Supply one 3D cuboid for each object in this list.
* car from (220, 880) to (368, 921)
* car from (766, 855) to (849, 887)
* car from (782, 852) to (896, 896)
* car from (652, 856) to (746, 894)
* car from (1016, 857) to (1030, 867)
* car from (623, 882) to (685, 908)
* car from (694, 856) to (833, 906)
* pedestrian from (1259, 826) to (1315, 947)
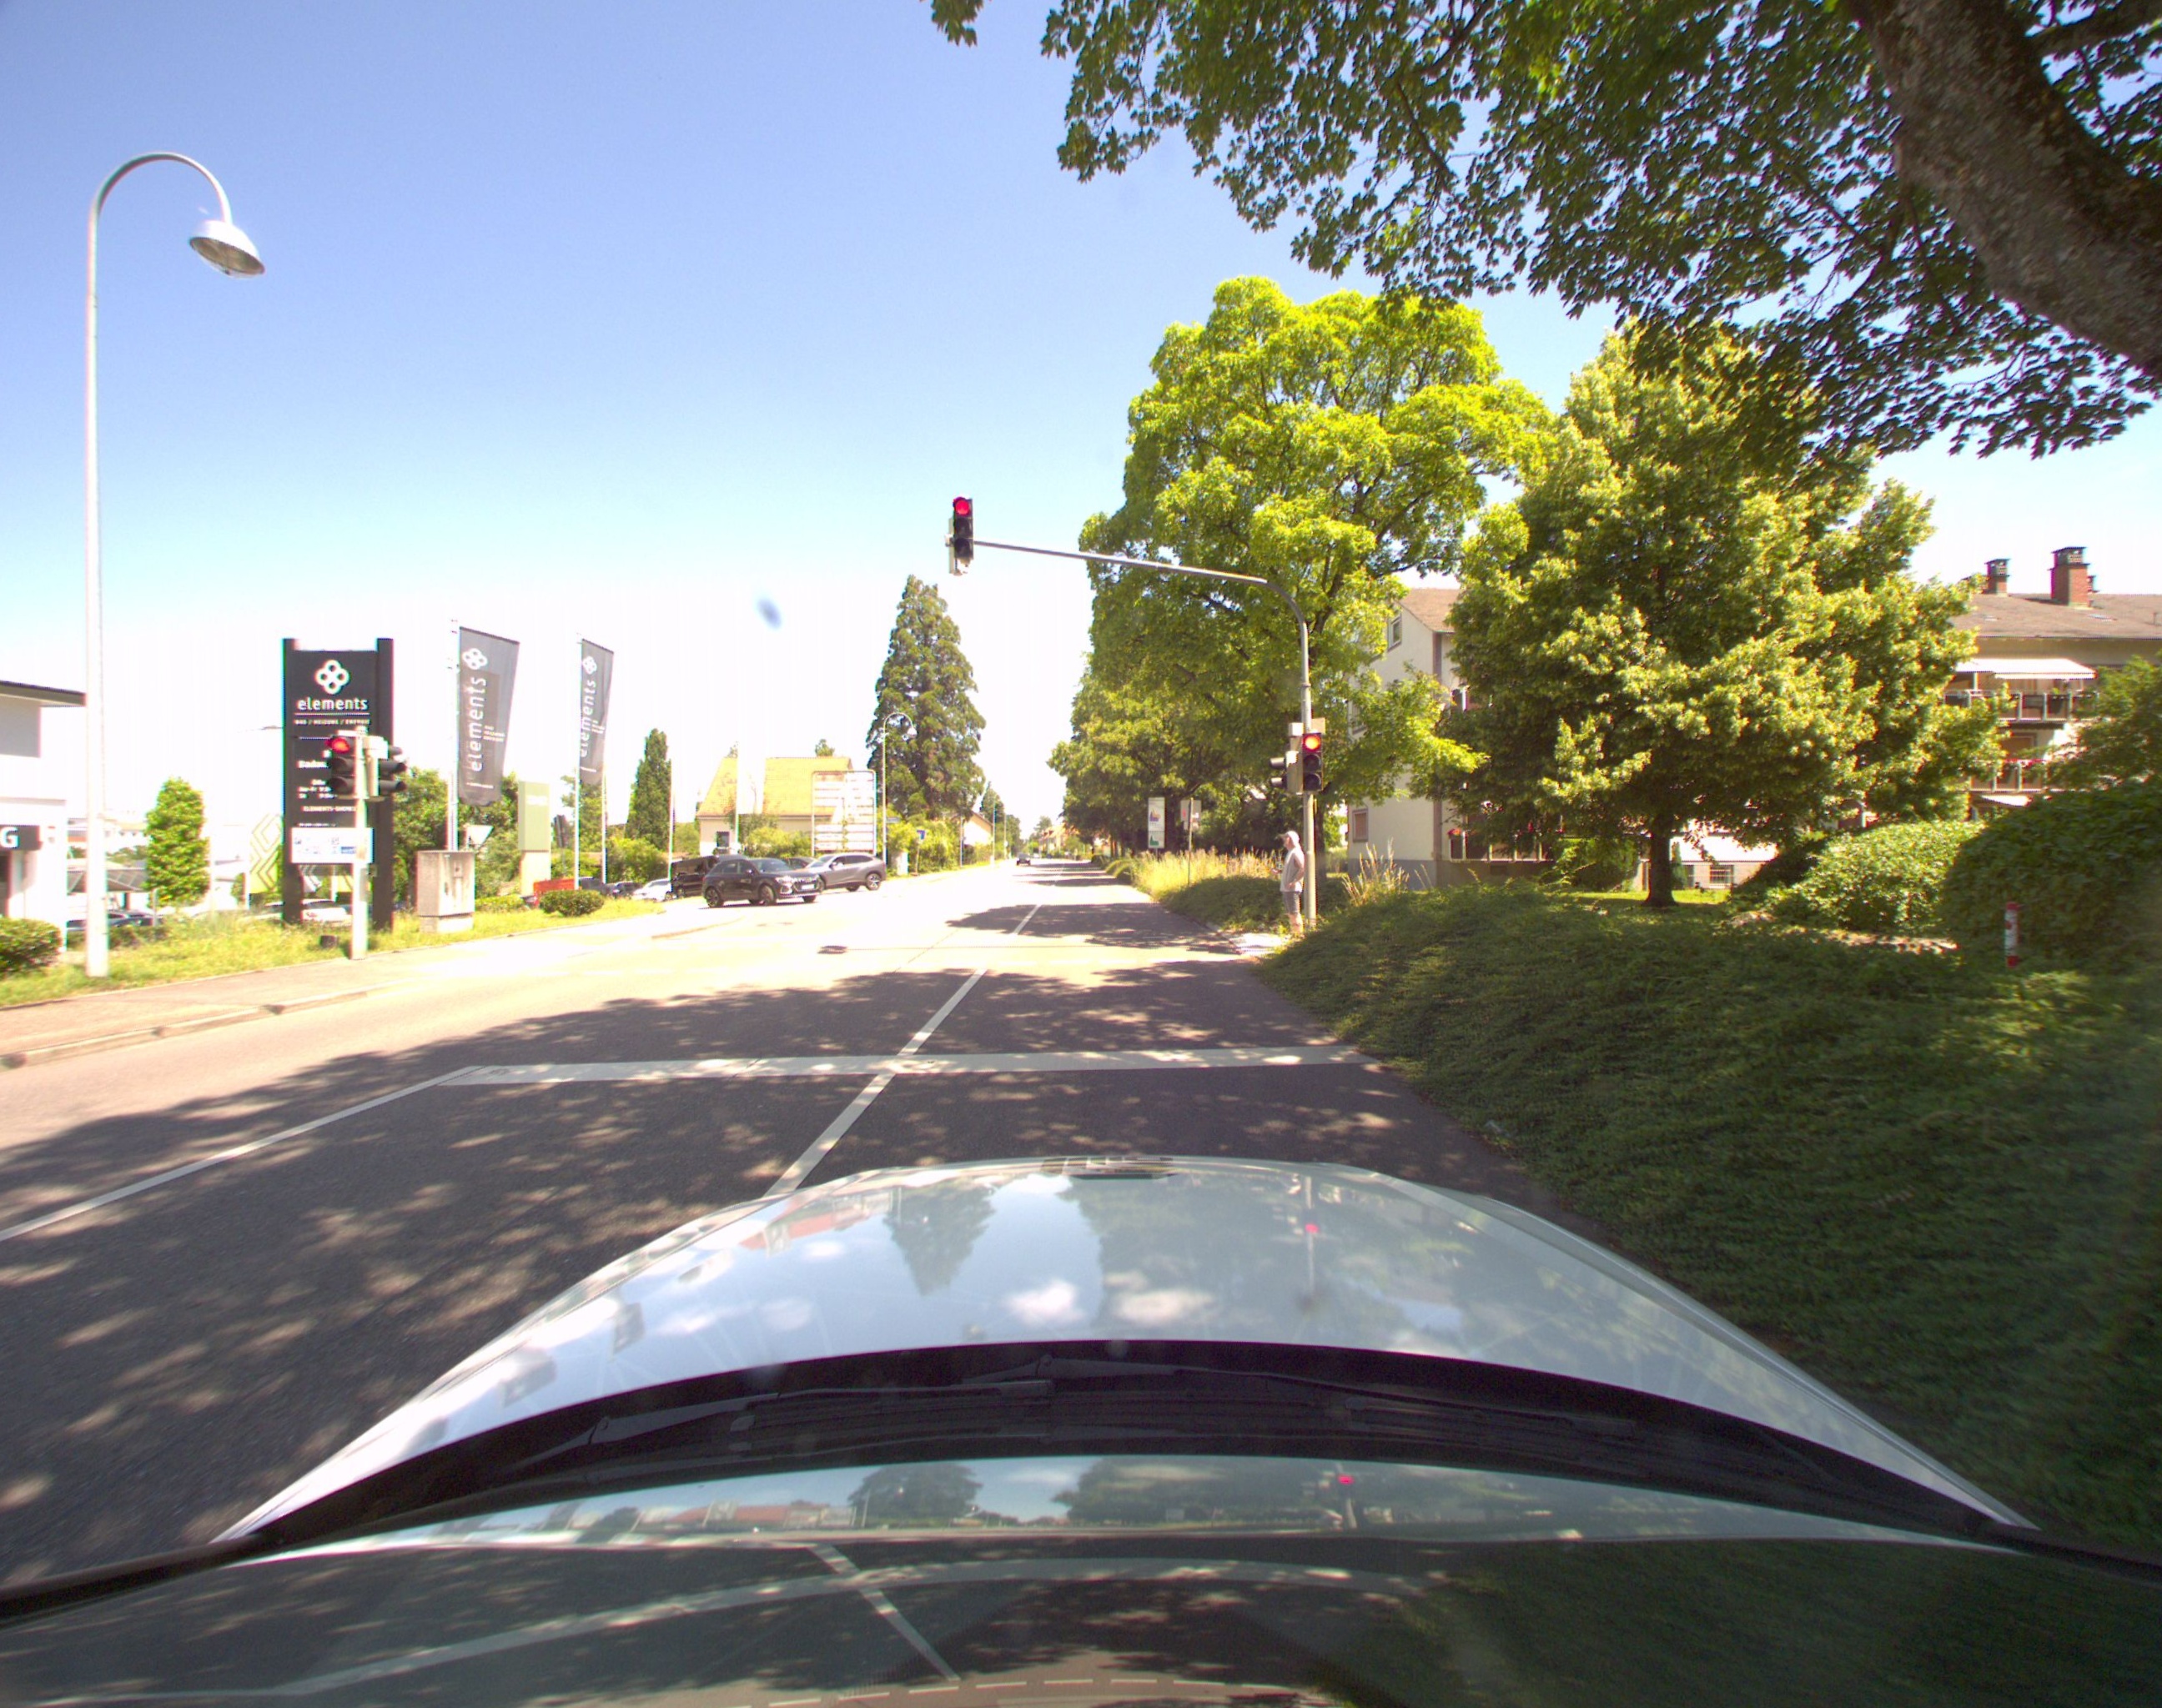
[{"bbox_3d":[-31.551,1.845,32.717,4.272,1.487,2.004,-1,0,7],"label":"car"},{"bbox_3d":[-13.345,0.831,39.875,3.486,1.427,1.598,-2,0,-6],"label":"car"},{"bbox_3d":[-10.267,0.806,34.776,1.861,1.717,4.337,-1,0,40],"label":"car"},{"bbox_3d":[-17.458,0.939,37.349,3.486,1.617,1.598,-2,0,-6],"label":"car"},{"bbox_3d":[-7.496,1.019,104.745,1.426,1.322,3.356,0,0,2],"label":"car"},{"bbox_3d":[-23.015,2.178,44.037,1.743,1.226,3.240,0,0,-3],"label":"car"},{"bbox_3d":[-10.467,0.865,26.819,4.252,1.526,1.940,-1,0,29],"label":"car"},{"bbox_3d":[3.071,0.469,12.167,0.561,1.751,0.612,0,-1,-16],"label":"pedestrian"}]
